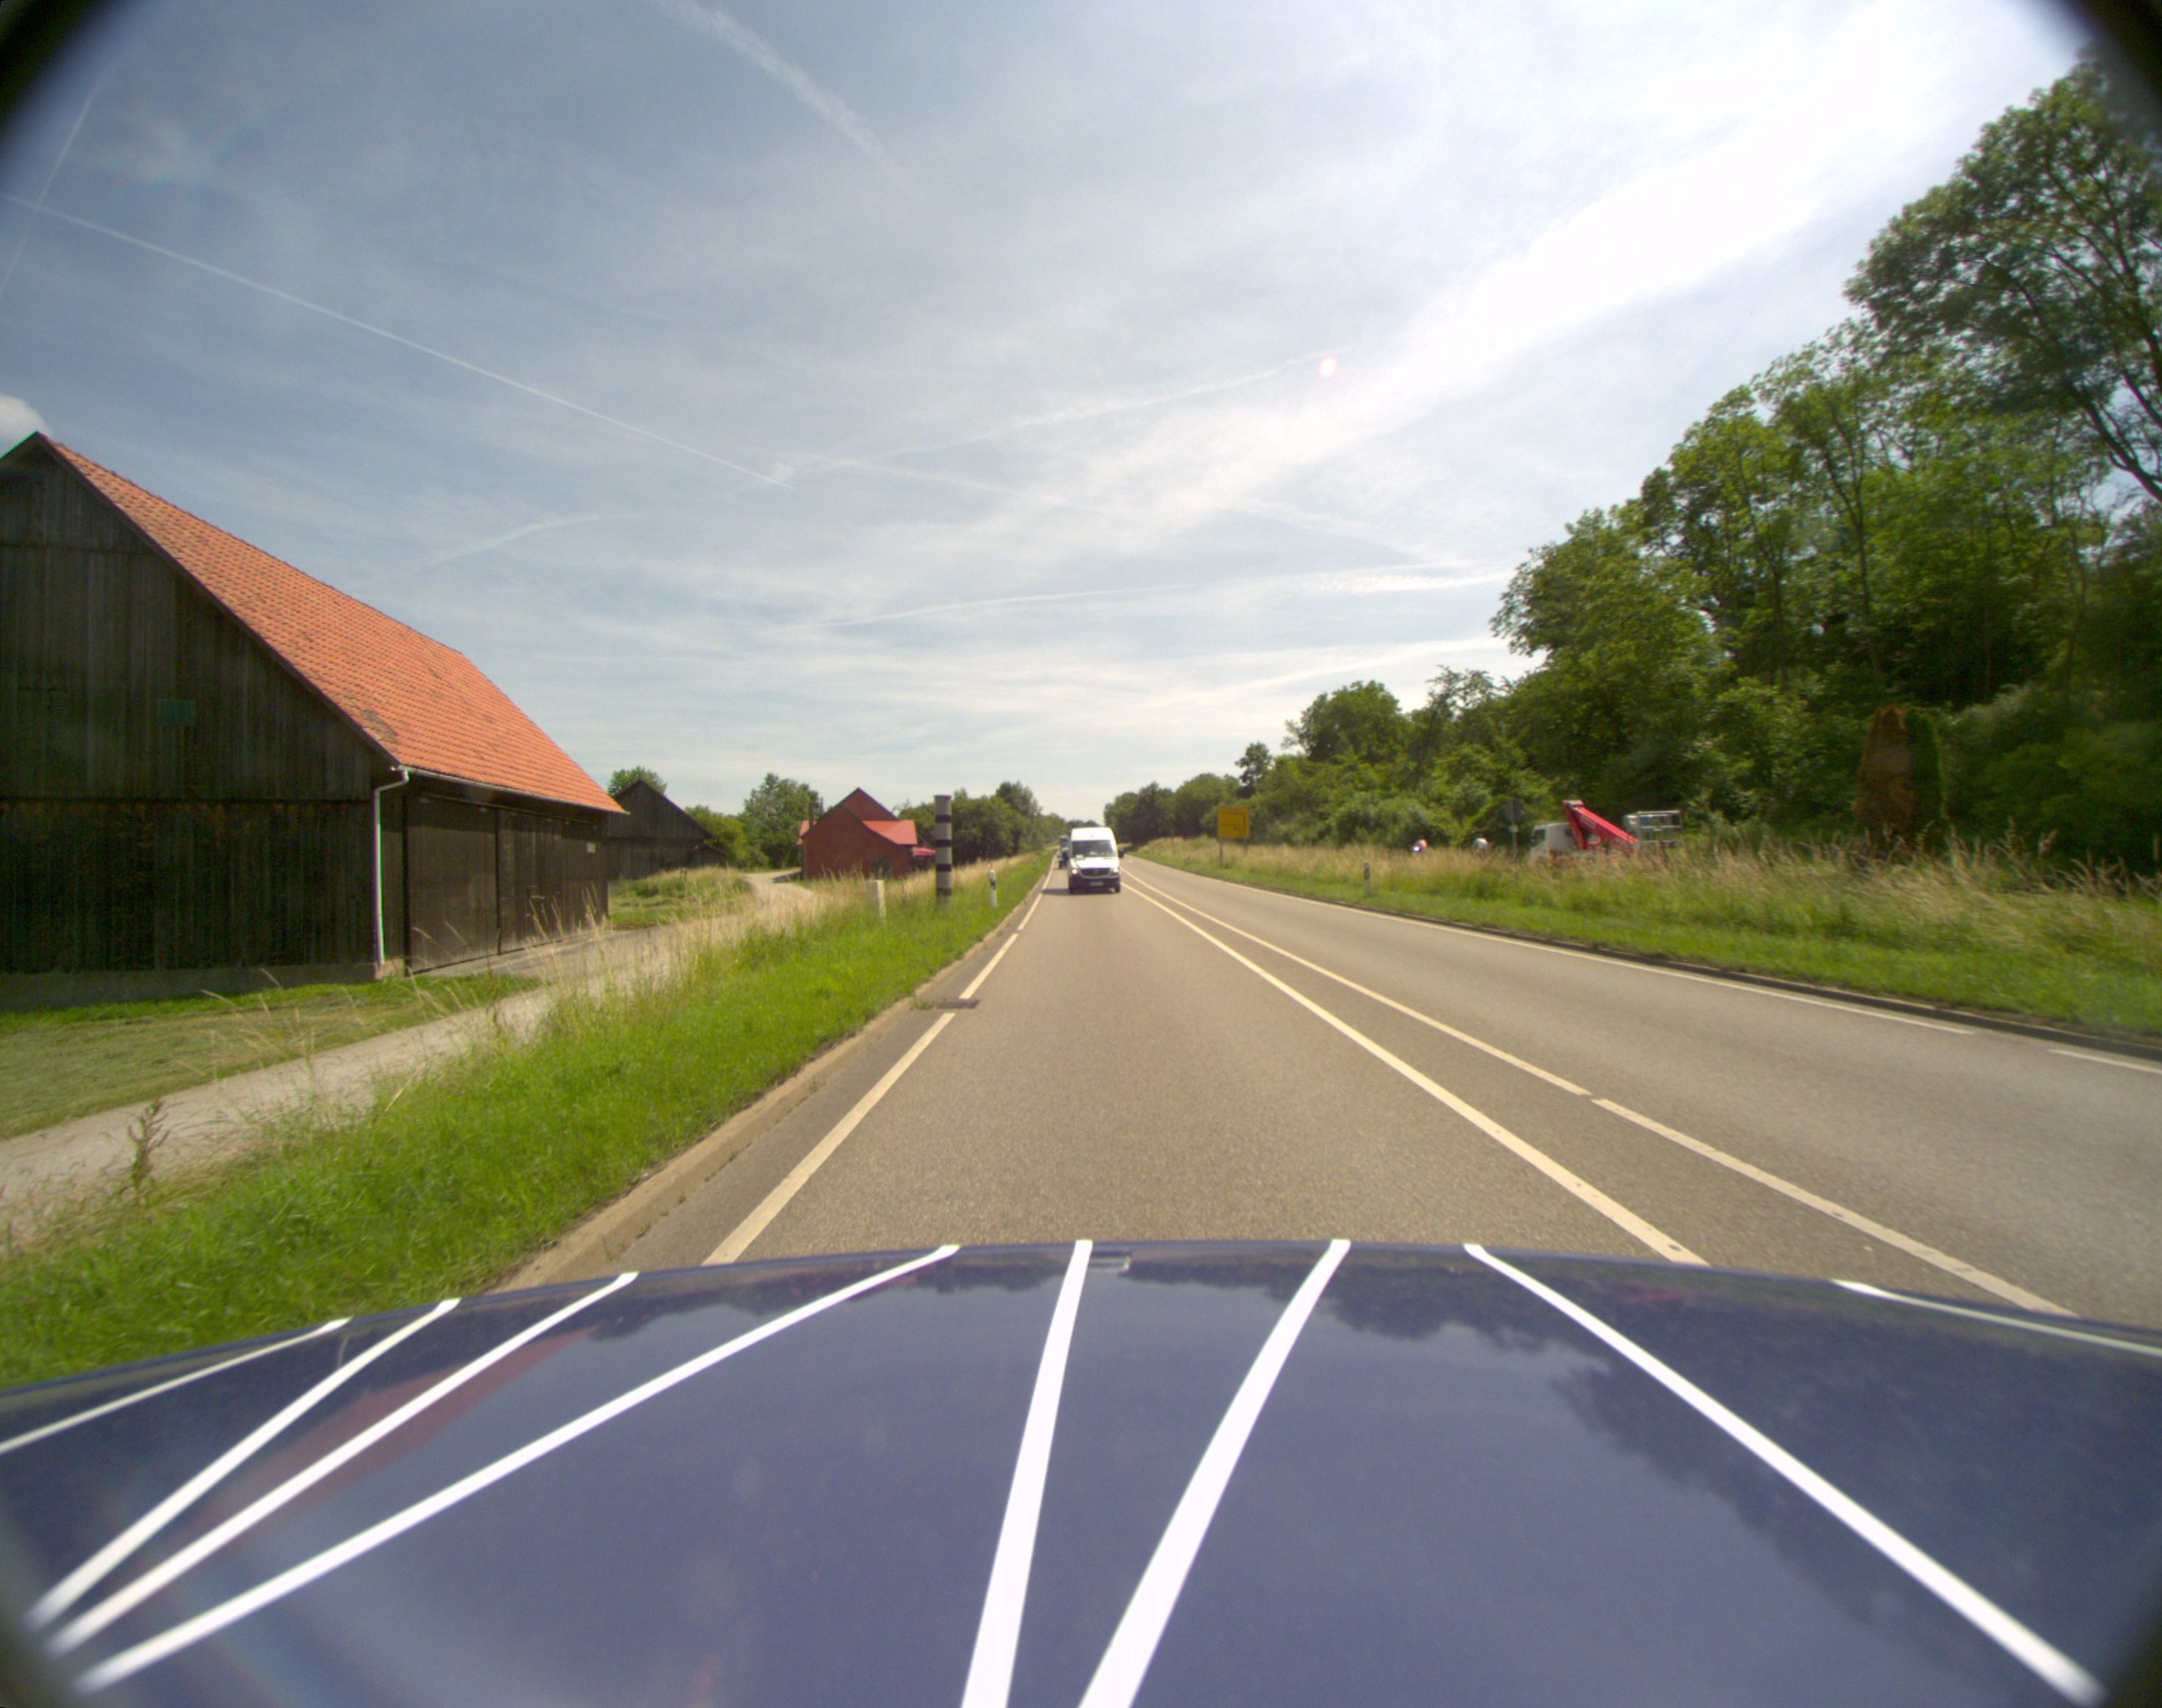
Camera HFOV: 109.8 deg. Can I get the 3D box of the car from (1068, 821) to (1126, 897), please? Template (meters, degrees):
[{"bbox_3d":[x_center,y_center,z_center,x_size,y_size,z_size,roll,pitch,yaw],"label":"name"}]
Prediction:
[{"bbox_3d":[0.623,0.147,29.874,1.960,2.655,5.680,-2,1,1],"label":"car"}]

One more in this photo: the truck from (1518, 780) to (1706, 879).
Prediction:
[{"bbox_3d":[18.363,-0.795,26.884,2.031,2.946,6.773,-3,1,2],"label":"truck"}]

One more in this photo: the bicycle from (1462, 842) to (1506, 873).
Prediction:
[{"bbox_3d":[16.229,0.110,30.674,0.750,1.174,2.105,-3,1,4],"label":"bicycle"}]

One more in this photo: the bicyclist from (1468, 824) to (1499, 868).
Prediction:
[{"bbox_3d":[16.199,-0.324,30.617,0.750,1.704,0.936,-3,1,4],"label":"bicyclist"}]

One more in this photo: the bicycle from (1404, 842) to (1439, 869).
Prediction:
[{"bbox_3d":[15.968,0.060,35.688,0.750,1.205,2.105,-3,1,2],"label":"bicycle"}]

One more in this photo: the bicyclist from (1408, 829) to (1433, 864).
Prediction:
[{"bbox_3d":[15.952,-0.364,35.713,0.750,1.586,0.936,-3,1,2],"label":"bicyclist"}]

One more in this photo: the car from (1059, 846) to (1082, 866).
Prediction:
[{"bbox_3d":[-0.917,0.204,67.911,1.848,1.692,4.244,-1,-1,1],"label":"car"}]

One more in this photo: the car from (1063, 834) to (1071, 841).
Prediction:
[{"bbox_3d":[-4.274,-5.128,234.165,1.998,2.166,4.000,-2,0,2],"label":"car"}]
